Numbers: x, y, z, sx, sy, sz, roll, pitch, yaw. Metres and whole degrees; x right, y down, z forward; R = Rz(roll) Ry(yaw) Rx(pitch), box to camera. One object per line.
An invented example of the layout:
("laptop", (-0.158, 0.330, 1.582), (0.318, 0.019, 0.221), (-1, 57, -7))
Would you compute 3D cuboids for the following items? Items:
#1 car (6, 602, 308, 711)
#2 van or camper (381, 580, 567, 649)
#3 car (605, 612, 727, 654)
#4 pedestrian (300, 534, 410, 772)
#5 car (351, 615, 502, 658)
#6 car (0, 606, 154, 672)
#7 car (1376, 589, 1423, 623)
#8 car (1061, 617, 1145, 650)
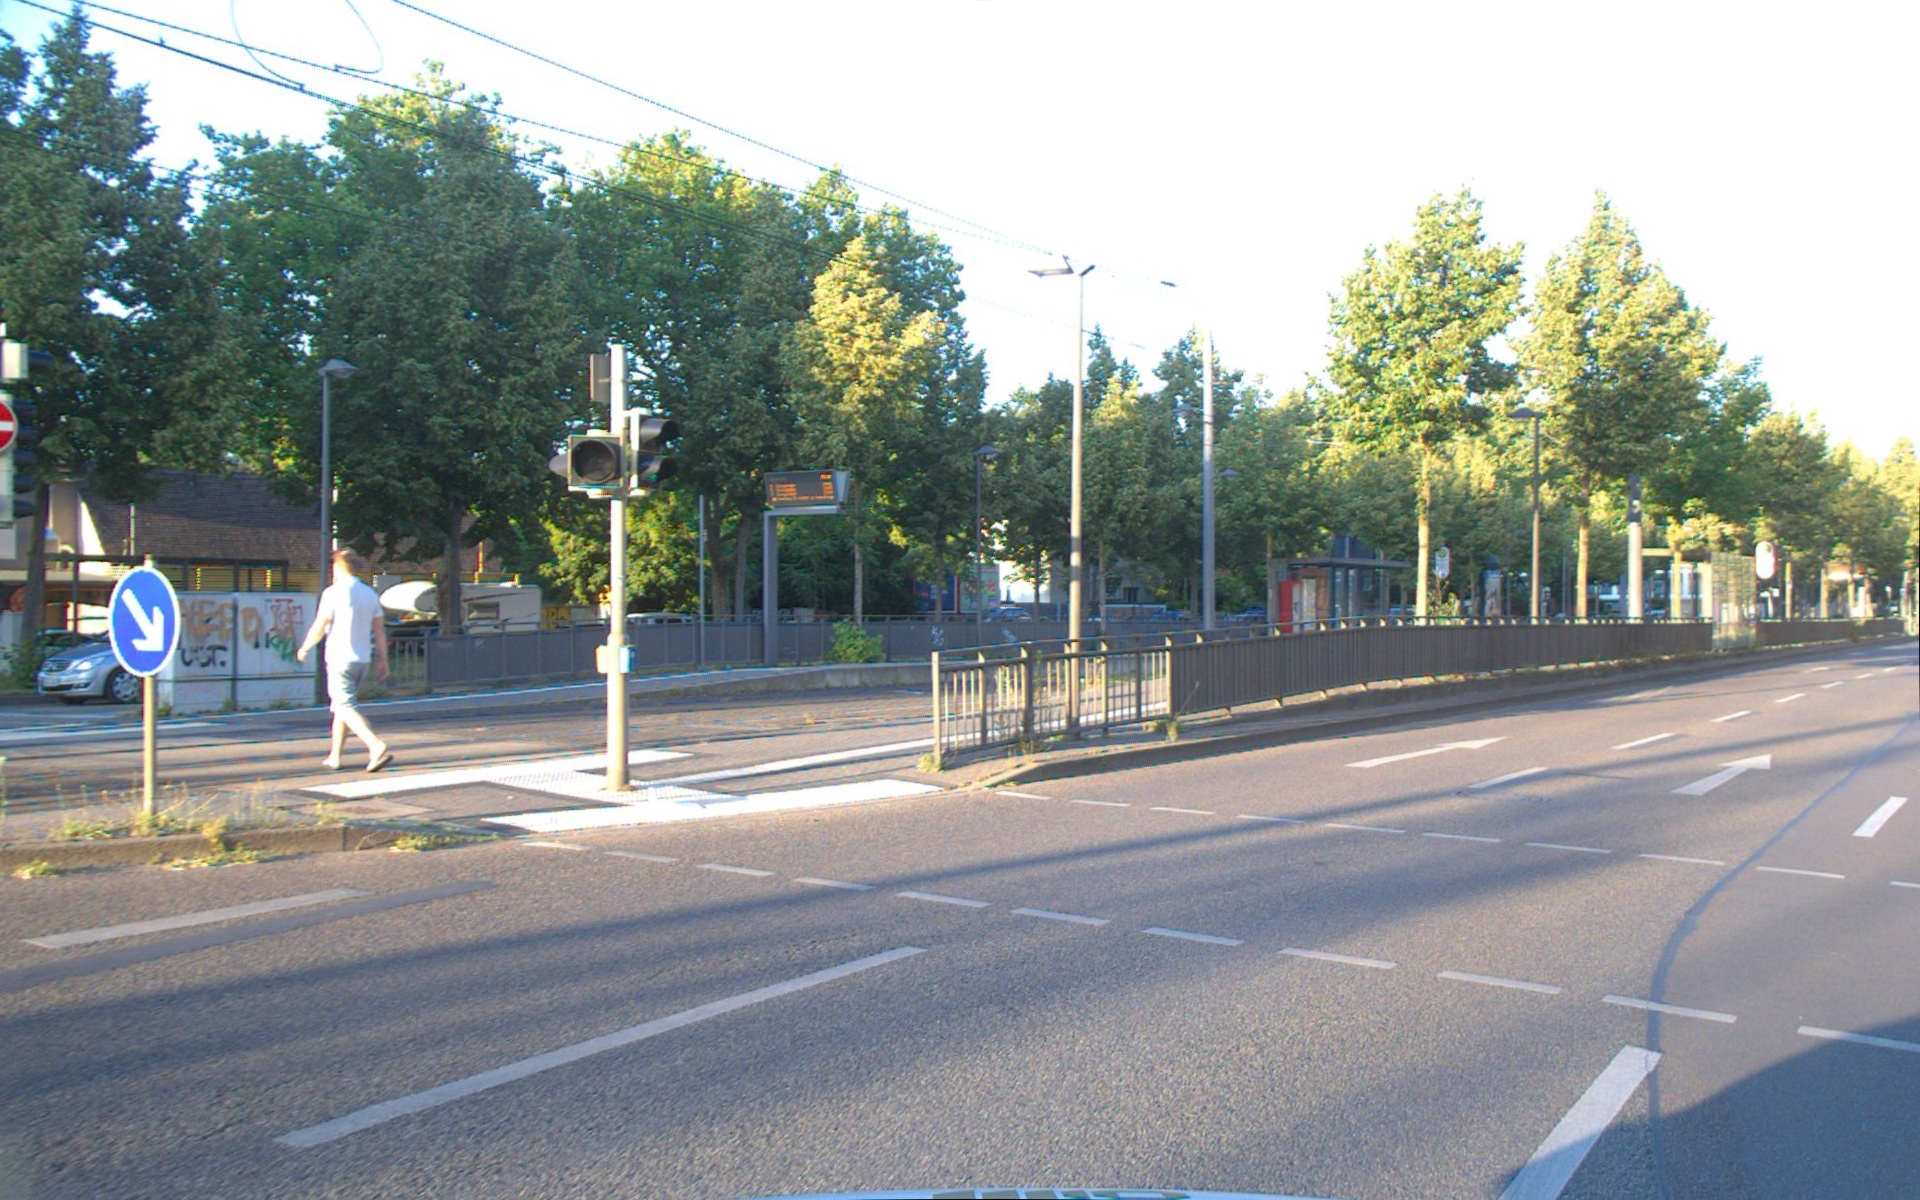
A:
("car", (-14.035, 0.932, 29.183), (1.822, 1.758, 4.537), (0, -1, 32))
("van or camper", (-18.076, 0.545, 61.835), (2.222, 2.452, 6.550), (-2, -1, 40))
("car", (-10.746, 1.182, 60.638), (1.962, 1.490, 4.224), (-1, -1, 38))
("pedestrian", (-4.835, 0.422, 13.200), (0.751, 1.822, 0.796), (1, -2, -24))
("car", (-16.822, 1.124, 52.292), (1.889, 1.323, 4.224), (-1, -1, 38))
("car", (-23.094, 0.960, 42.121), (1.962, 1.605, 4.224), (-1, -1, 38))
("car", (29.054, 0.378, 109.373), (1.745, 2.223, 3.986), (0, 0, 35))
("car", (6.723, 1.535, 77.525), (1.962, 1.490, 4.224), (-1, -1, 38))
